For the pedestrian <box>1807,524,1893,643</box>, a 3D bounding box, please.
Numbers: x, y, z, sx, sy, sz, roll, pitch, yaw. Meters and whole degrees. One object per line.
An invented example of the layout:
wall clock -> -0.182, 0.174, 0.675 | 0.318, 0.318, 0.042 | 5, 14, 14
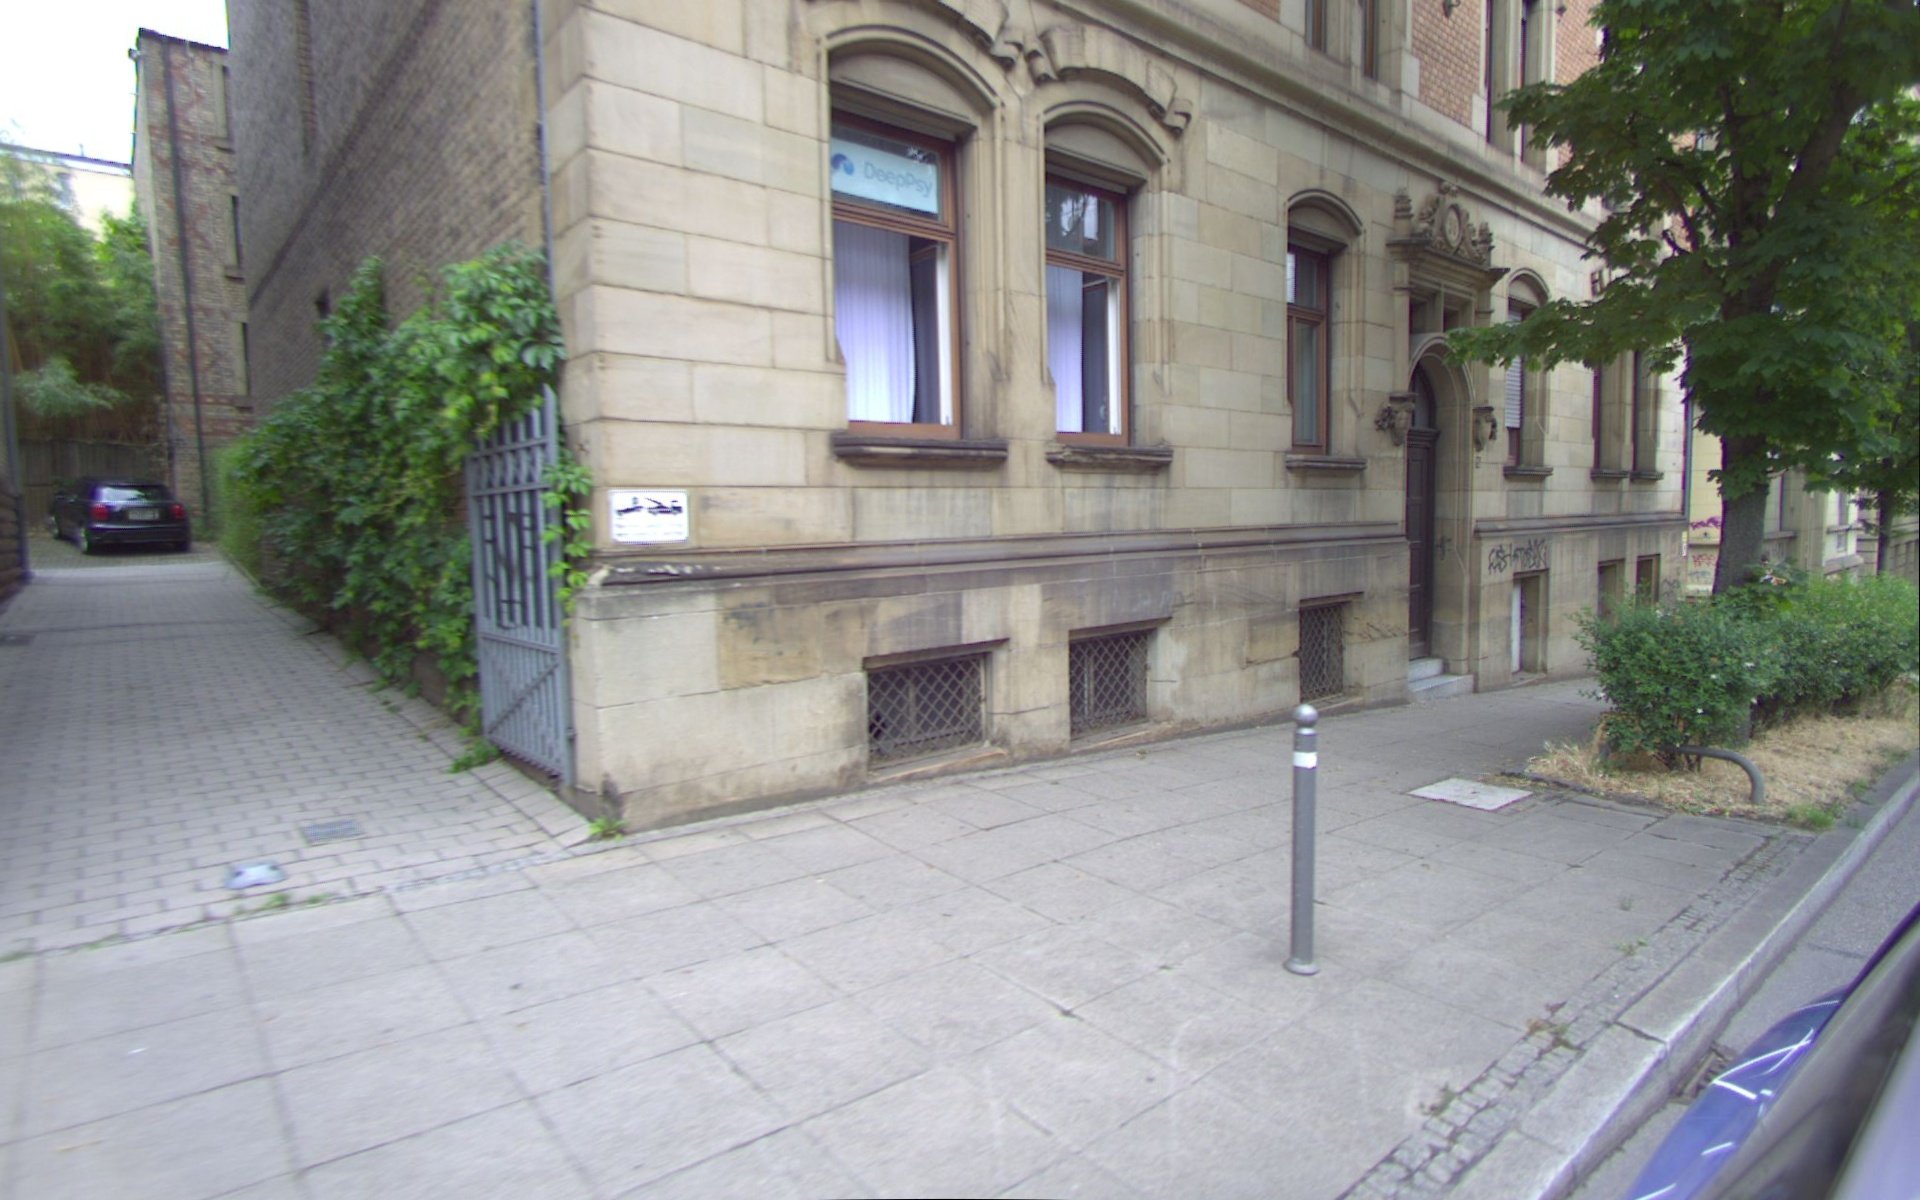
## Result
pedestrian -> 12.718, -0.270, 14.457 | 1.196, 1.592, 0.687 | -5, 7, -41

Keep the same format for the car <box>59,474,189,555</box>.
car -> -17.269, -1.828, 20.856 | 1.670, 1.471, 3.455 | -6, 10, -44

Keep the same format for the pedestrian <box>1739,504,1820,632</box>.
pedestrian -> 12.429, -0.521, 15.345 | 1.102, 1.850, 0.687 | -5, 7, -41
